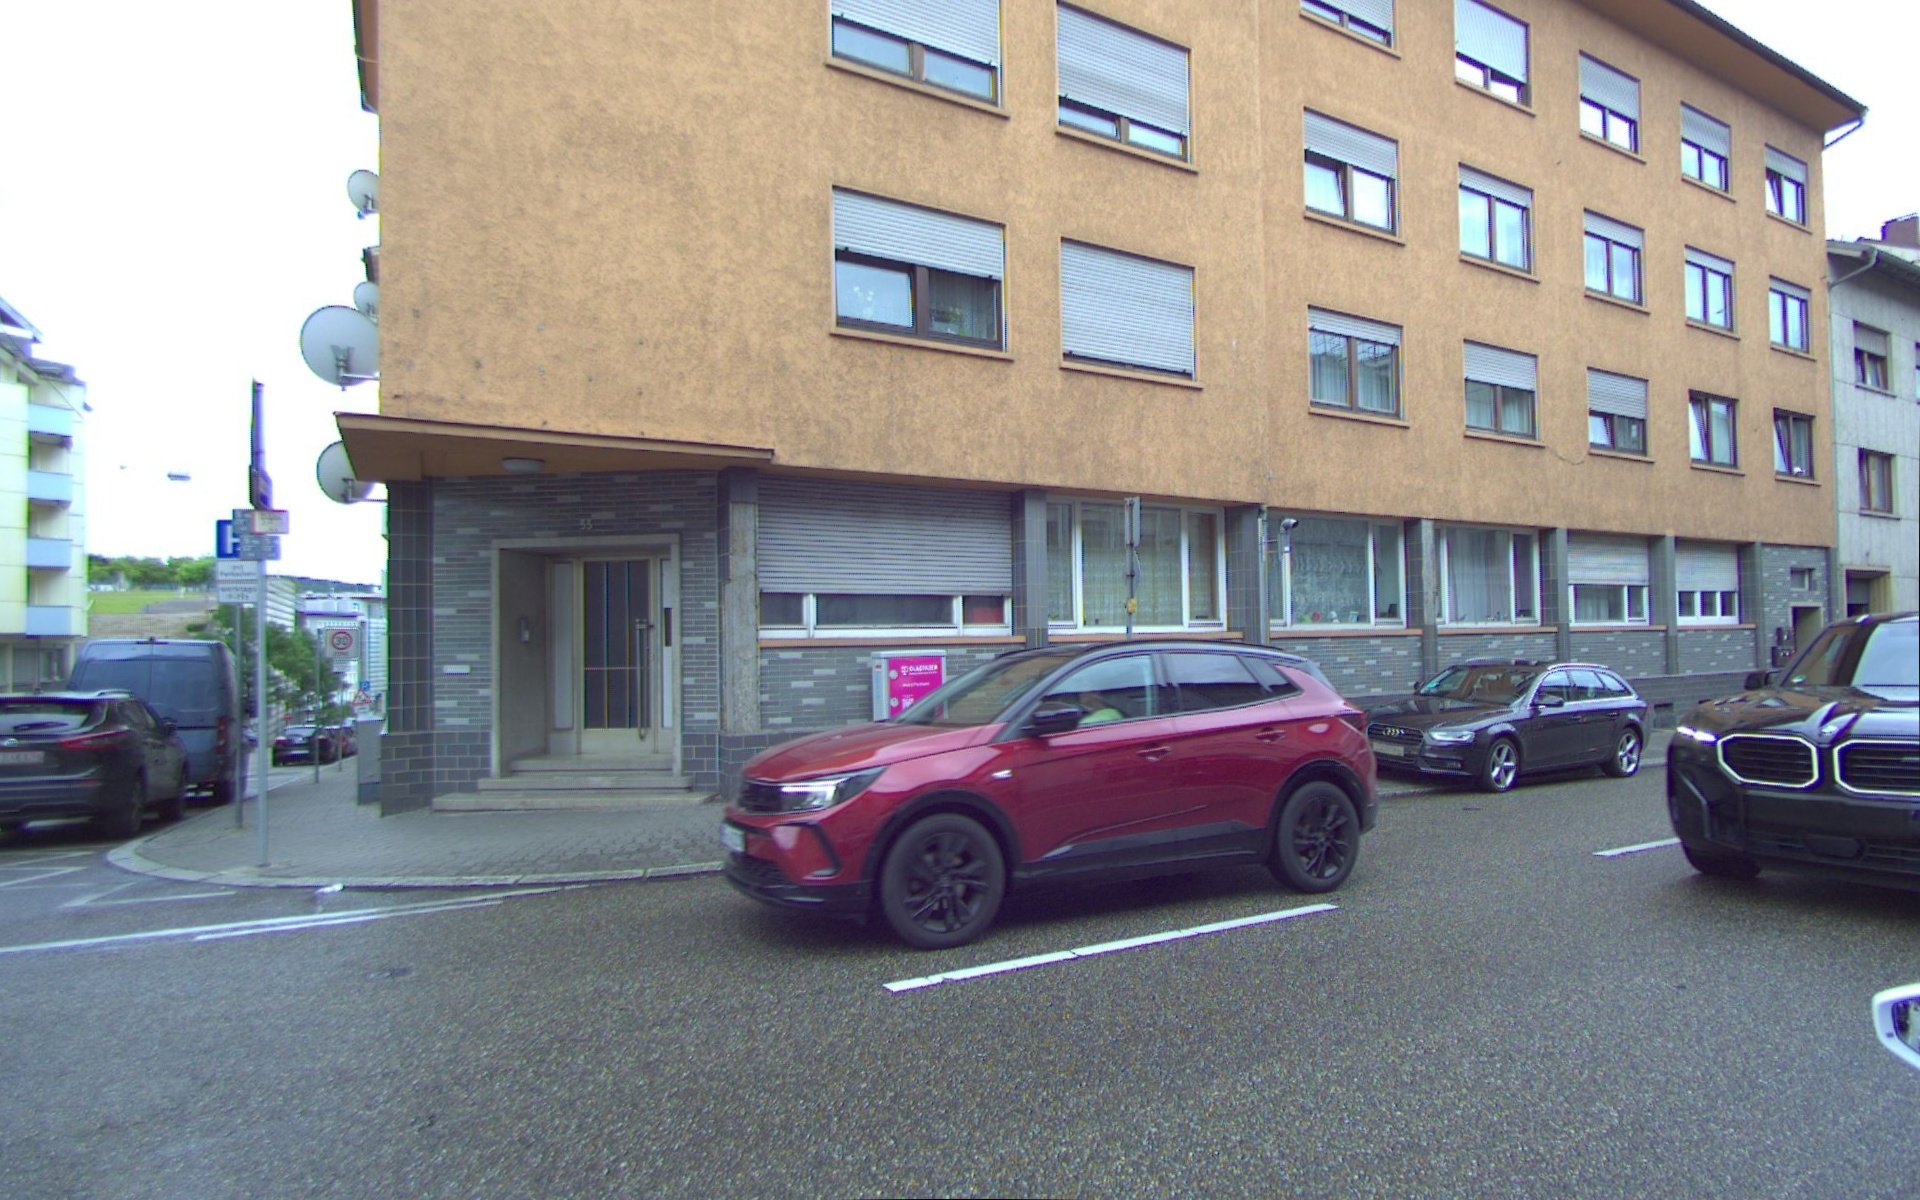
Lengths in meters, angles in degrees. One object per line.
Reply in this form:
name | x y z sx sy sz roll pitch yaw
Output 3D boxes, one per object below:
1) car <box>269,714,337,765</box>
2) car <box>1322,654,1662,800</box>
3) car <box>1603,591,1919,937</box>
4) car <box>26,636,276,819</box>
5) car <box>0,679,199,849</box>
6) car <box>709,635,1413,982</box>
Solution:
car | -24.410 5.185 37.455 1.796 1.696 4.026 1 -7 -29
car | 6.867 1.486 12.843 4.475 1.457 1.786 1 0 -31
car | 6.687 0.910 6.682 4.762 1.743 2.117 1 -4 -31
car | -13.240 2.093 16.950 2.223 2.492 6.017 1 -7 -29
car | -10.166 1.826 11.405 1.820 1.596 4.127 1 -8 -29
car | 0.717 1.065 6.503 4.262 1.605 1.791 1 -4 -28
